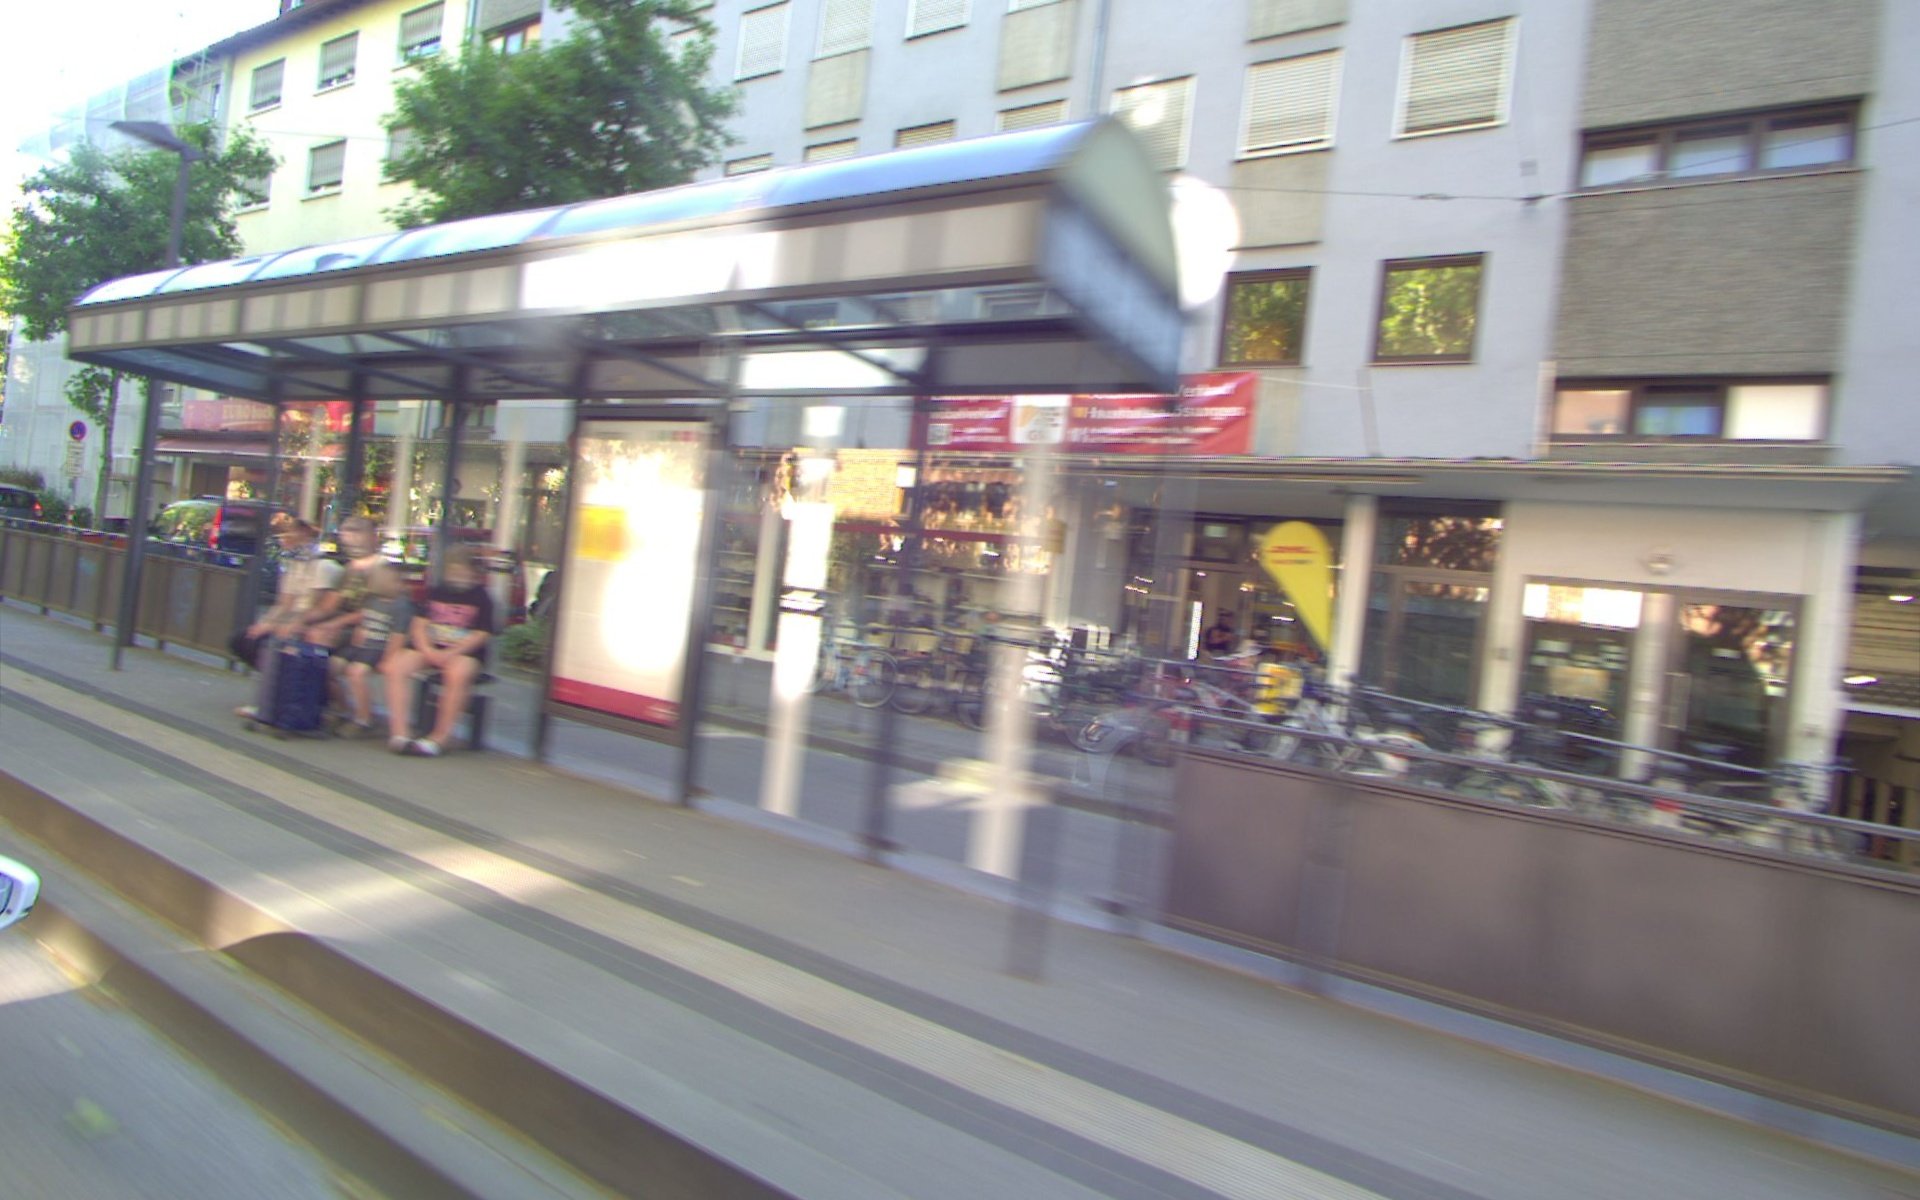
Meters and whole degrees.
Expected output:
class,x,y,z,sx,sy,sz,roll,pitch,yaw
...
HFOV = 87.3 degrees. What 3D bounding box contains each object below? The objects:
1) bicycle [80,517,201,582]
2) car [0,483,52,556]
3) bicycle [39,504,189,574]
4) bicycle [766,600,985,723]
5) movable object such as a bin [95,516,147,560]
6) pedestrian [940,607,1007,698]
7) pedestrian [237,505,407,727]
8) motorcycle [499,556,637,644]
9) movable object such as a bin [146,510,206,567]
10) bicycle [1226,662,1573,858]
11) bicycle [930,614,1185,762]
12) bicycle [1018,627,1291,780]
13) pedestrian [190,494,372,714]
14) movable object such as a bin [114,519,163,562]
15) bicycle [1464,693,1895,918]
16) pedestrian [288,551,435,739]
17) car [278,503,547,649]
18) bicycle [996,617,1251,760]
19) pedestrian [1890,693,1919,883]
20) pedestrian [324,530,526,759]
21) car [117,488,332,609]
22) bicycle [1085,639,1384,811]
class,x,y,z,sx,sy,sz,roll,pitch,yaw
bicycle,-18.683,-1.146,22.950,2.169,1.225,0.685,6,1,3
car,-24.744,-2.169,25.261,4.369,1.642,1.763,7,1,33
bicycle,-18.227,-1.300,21.732,1.012,1.225,2.206,6,0,31
bicycle,-1.120,0.734,12.901,2.734,1.196,0.771,6,3,27
movable object such as a bin,-23.959,-1.765,28.725,0.685,1.125,0.882,7,1,29
pedestrian,0.206,0.772,14.667,0.637,1.219,0.681,7,-1,21
pedestrian,-4.079,0.113,6.460,0.517,1.320,0.586,7,-1,21
motorcycle,-7.450,-0.029,19.073,2.605,1.336,0.951,8,5,30
movable object such as a bin,-21.840,-1.705,28.023,0.811,1.414,1.000,7,1,29
bicycle,4.004,1.399,9.374,2.734,1.197,0.771,8,5,27
bicycle,1.079,0.946,11.583,2.734,1.197,0.771,8,5,27
bicycle,2.096,1.079,10.979,2.730,1.197,0.772,7,5,15
pedestrian,-4.491,0.046,6.689,0.484,1.341,0.722,7,-1,21
movable object such as a bin,-24.107,-1.753,29.525,0.685,1.125,0.882,7,1,29
bicycle,5.861,1.634,8.495,2.734,1.197,0.771,8,5,27
pedestrian,-3.682,0.281,6.210,0.418,1.068,0.522,7,-1,21
car,-8.681,-0.407,15.869,4.103,1.775,1.692,6,-2,30
bicycle,1.891,0.978,11.690,2.730,1.197,0.772,7,5,17
pedestrian,9.762,1.878,9.774,0.762,1.825,0.678,7,-2,-20
pedestrian,-3.160,0.266,5.981,0.637,1.219,0.681,7,-1,21
car,-14.246,-1.009,19.437,4.126,1.921,1.993,7,3,33
bicycle,2.754,1.198,10.270,2.734,1.197,0.771,8,5,27
